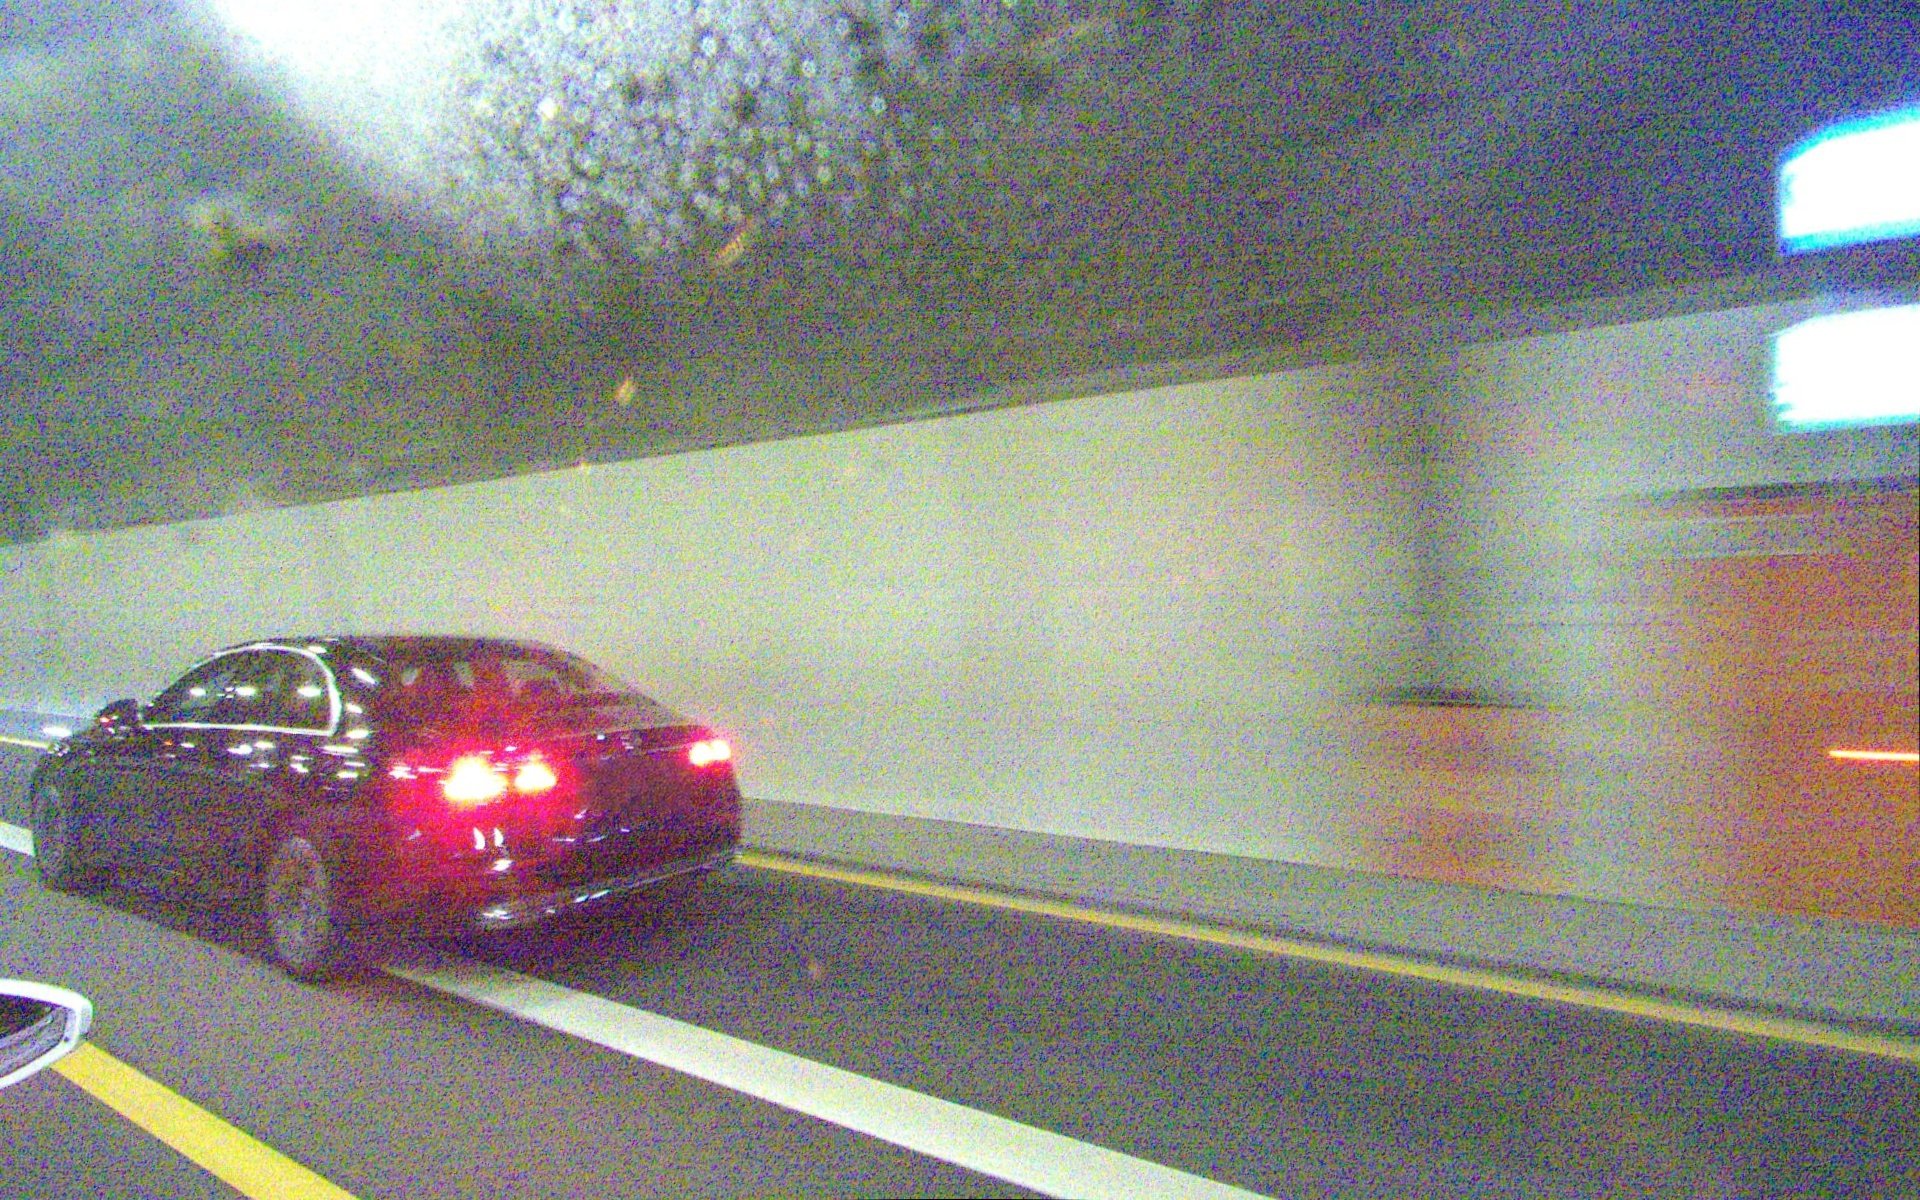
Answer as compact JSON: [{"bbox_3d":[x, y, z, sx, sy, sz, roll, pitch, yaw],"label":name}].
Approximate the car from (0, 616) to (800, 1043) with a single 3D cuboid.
[{"bbox_3d":[-3.391,0.894,5.649,4.884,1.491,1.923,-1,-3,32],"label":"car"}]
